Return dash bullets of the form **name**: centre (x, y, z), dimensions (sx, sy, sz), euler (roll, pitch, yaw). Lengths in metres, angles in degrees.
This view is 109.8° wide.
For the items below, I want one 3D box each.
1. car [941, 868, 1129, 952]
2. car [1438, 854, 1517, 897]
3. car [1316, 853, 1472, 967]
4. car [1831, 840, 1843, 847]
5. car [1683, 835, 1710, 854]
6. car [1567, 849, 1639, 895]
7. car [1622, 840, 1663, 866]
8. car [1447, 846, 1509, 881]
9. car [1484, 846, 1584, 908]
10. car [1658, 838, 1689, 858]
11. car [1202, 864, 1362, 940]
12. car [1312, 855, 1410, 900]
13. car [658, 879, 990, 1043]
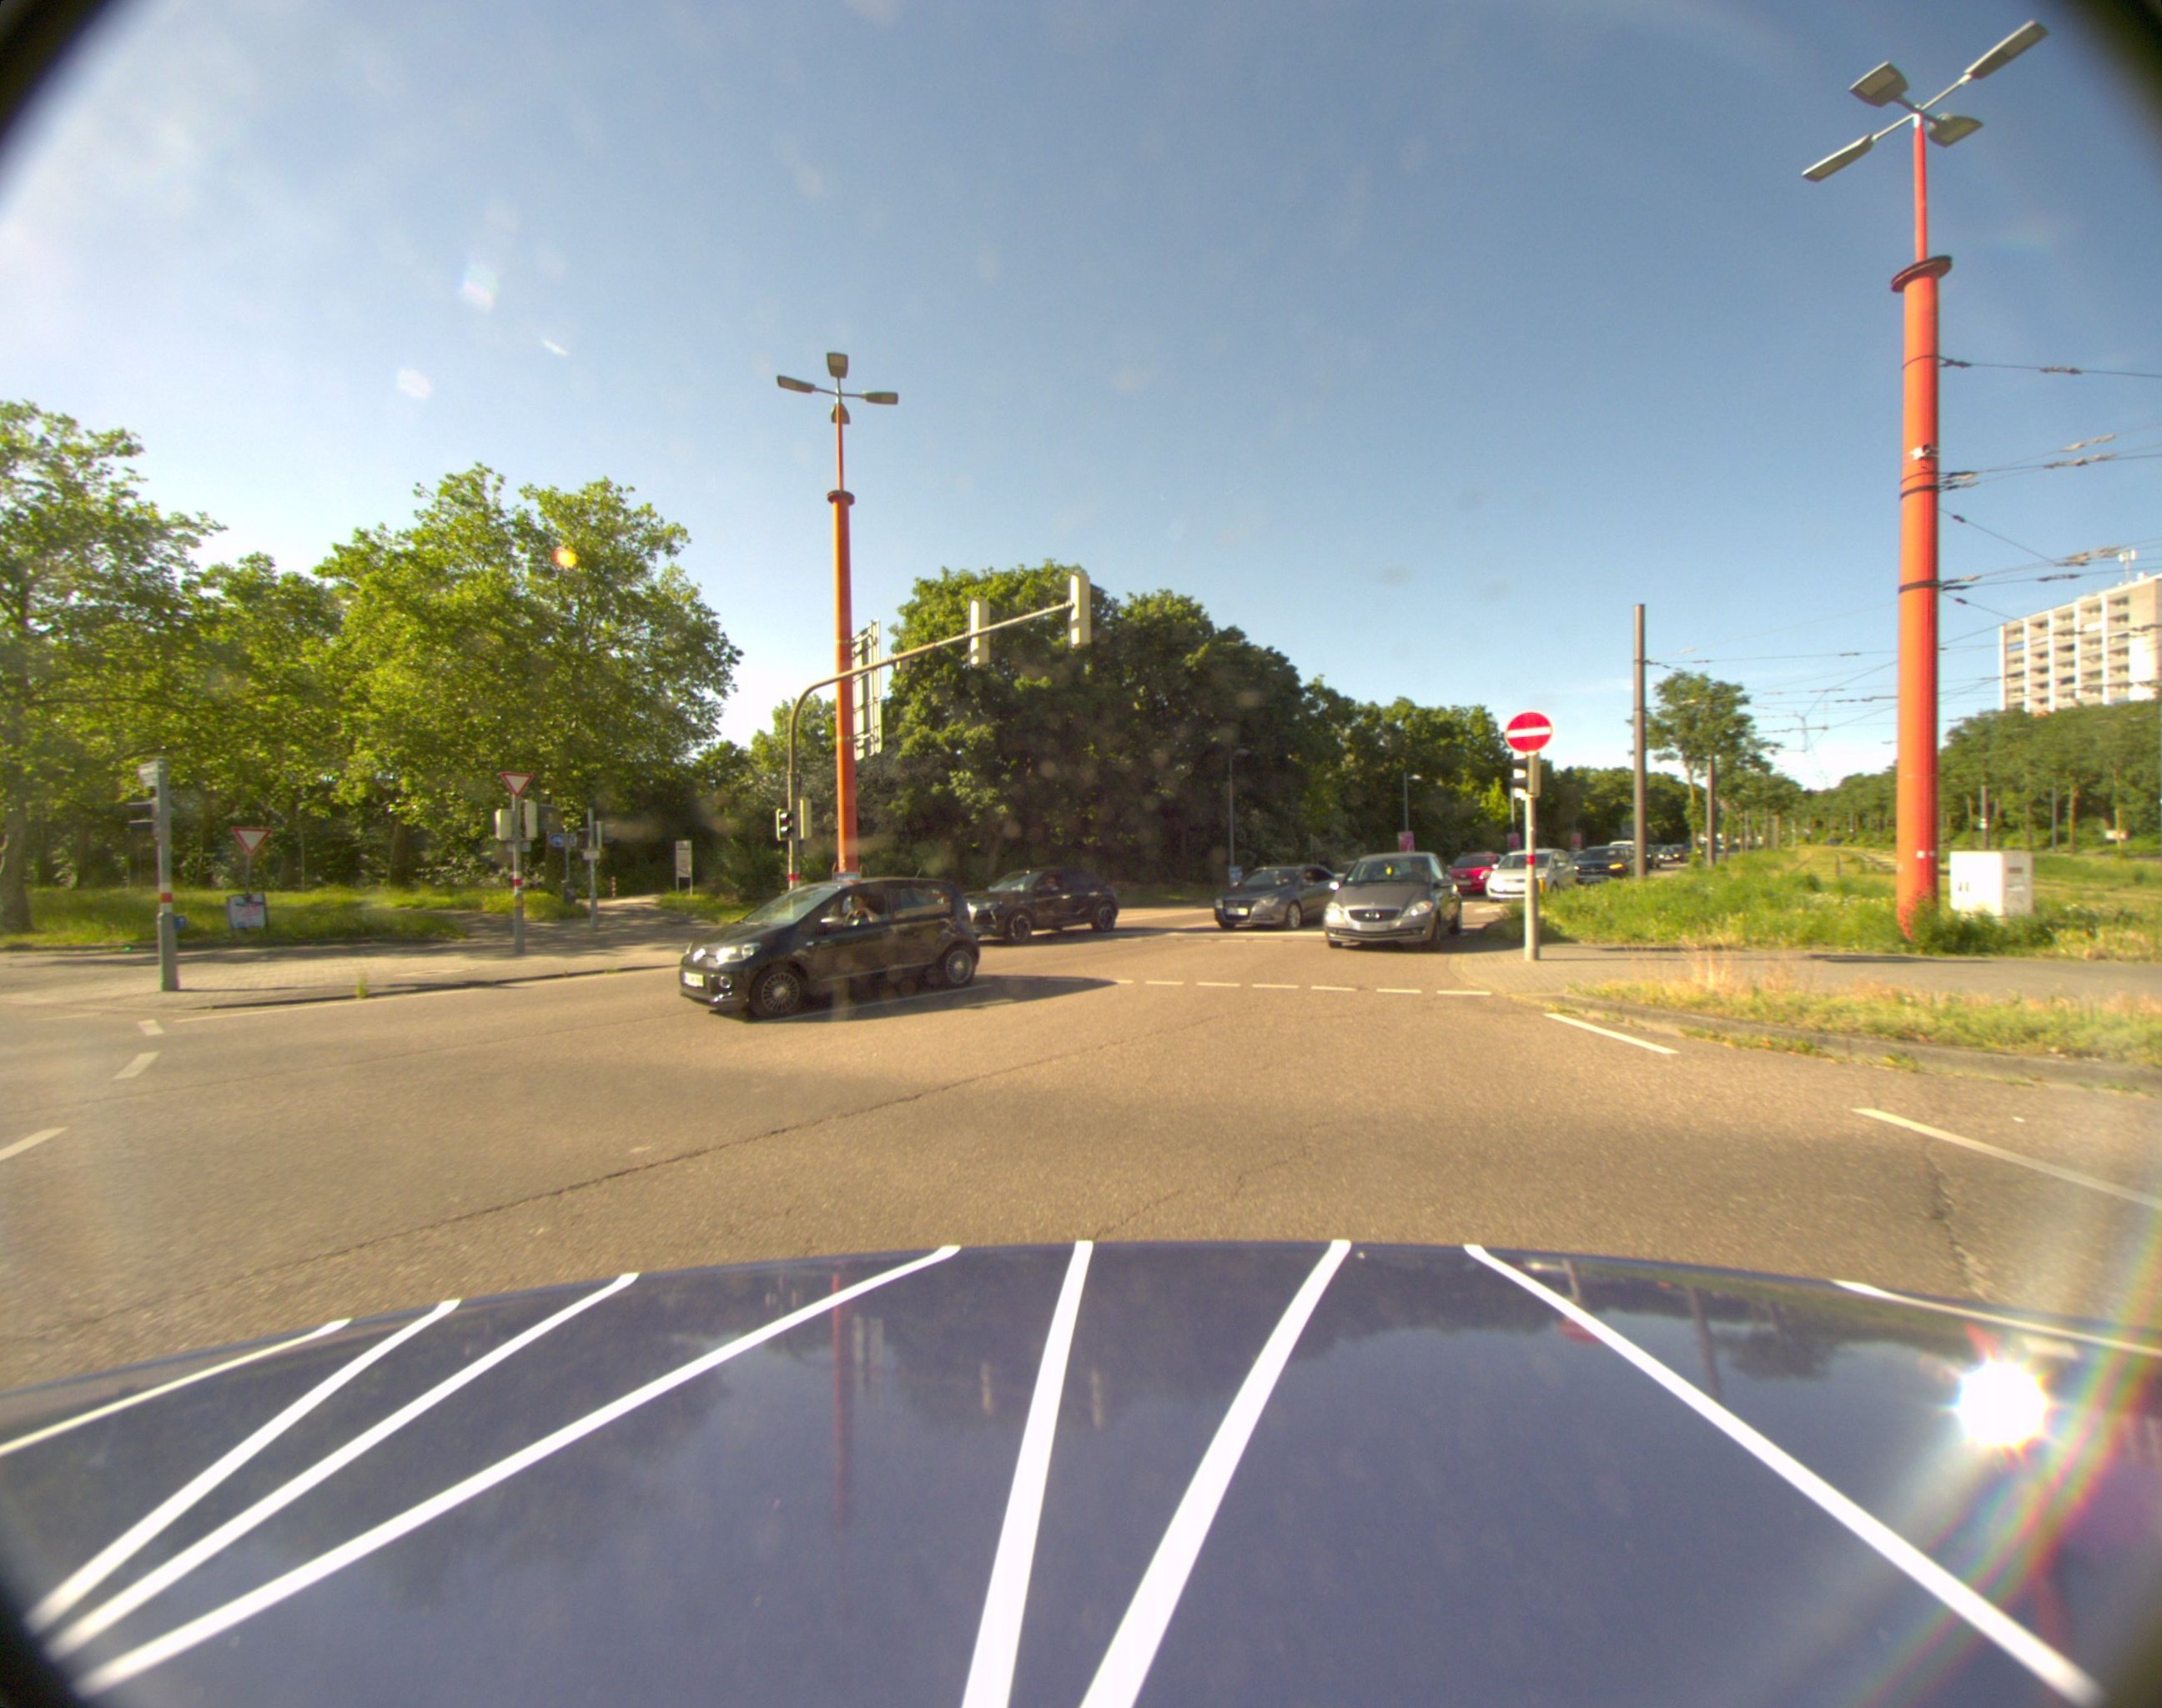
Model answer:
- **car**: centre (-0.901, 1.122, 16.633), dimensions (1.710, 1.485, 3.971), euler (-2, 0, 44)
- **car**: centre (14.952, 0.785, 28.579), dimensions (1.682, 1.437, 3.734), euler (-3, -1, 43)
- **car**: centre (5.700, 0.856, 13.554), dimensions (1.745, 1.631, 4.008), euler (-1, 1, 34)
- **car**: centre (155.534, -2.108, 156.295), dimensions (1.575, 1.411, 3.917), euler (-2, -1, 44)
- **car**: centre (57.602, -0.863, 71.098), dimensions (1.691, 1.652, 3.835), euler (-3, -1, 43)
- **car**: centre (20.688, 0.671, 30.066), dimensions (1.745, 1.652, 4.008), euler (-1, 0, 43)
- **car**: centre (38.654, -0.092, 52.277), dimensions (1.745, 1.652, 4.008), euler (-3, -1, 43)
- **car**: centre (20.026, 0.439, 38.290), dimensions (1.745, 1.652, 4.008), euler (-1, 0, 43)
- **car**: centre (13.955, 0.664, 23.311), dimensions (1.745, 1.652, 4.008), euler (-3, -1, 43)
- **car**: centre (48.729, -0.494, 62.433), dimensions (1.627, 1.555, 3.820), euler (-3, -1, 43)
- **car**: centre (4.731, 1.015, 17.501), dimensions (1.710, 1.430, 4.180), euler (-2, 0, 44)
- **car**: centre (10.495, 0.844, 28.342), dimensions (1.745, 1.427, 4.395), euler (-2, 0, 44)
- **car**: centre (-2.986, 1.120, 9.307), dimensions (1.618, 1.485, 3.460), euler (-2, -1, 43)
